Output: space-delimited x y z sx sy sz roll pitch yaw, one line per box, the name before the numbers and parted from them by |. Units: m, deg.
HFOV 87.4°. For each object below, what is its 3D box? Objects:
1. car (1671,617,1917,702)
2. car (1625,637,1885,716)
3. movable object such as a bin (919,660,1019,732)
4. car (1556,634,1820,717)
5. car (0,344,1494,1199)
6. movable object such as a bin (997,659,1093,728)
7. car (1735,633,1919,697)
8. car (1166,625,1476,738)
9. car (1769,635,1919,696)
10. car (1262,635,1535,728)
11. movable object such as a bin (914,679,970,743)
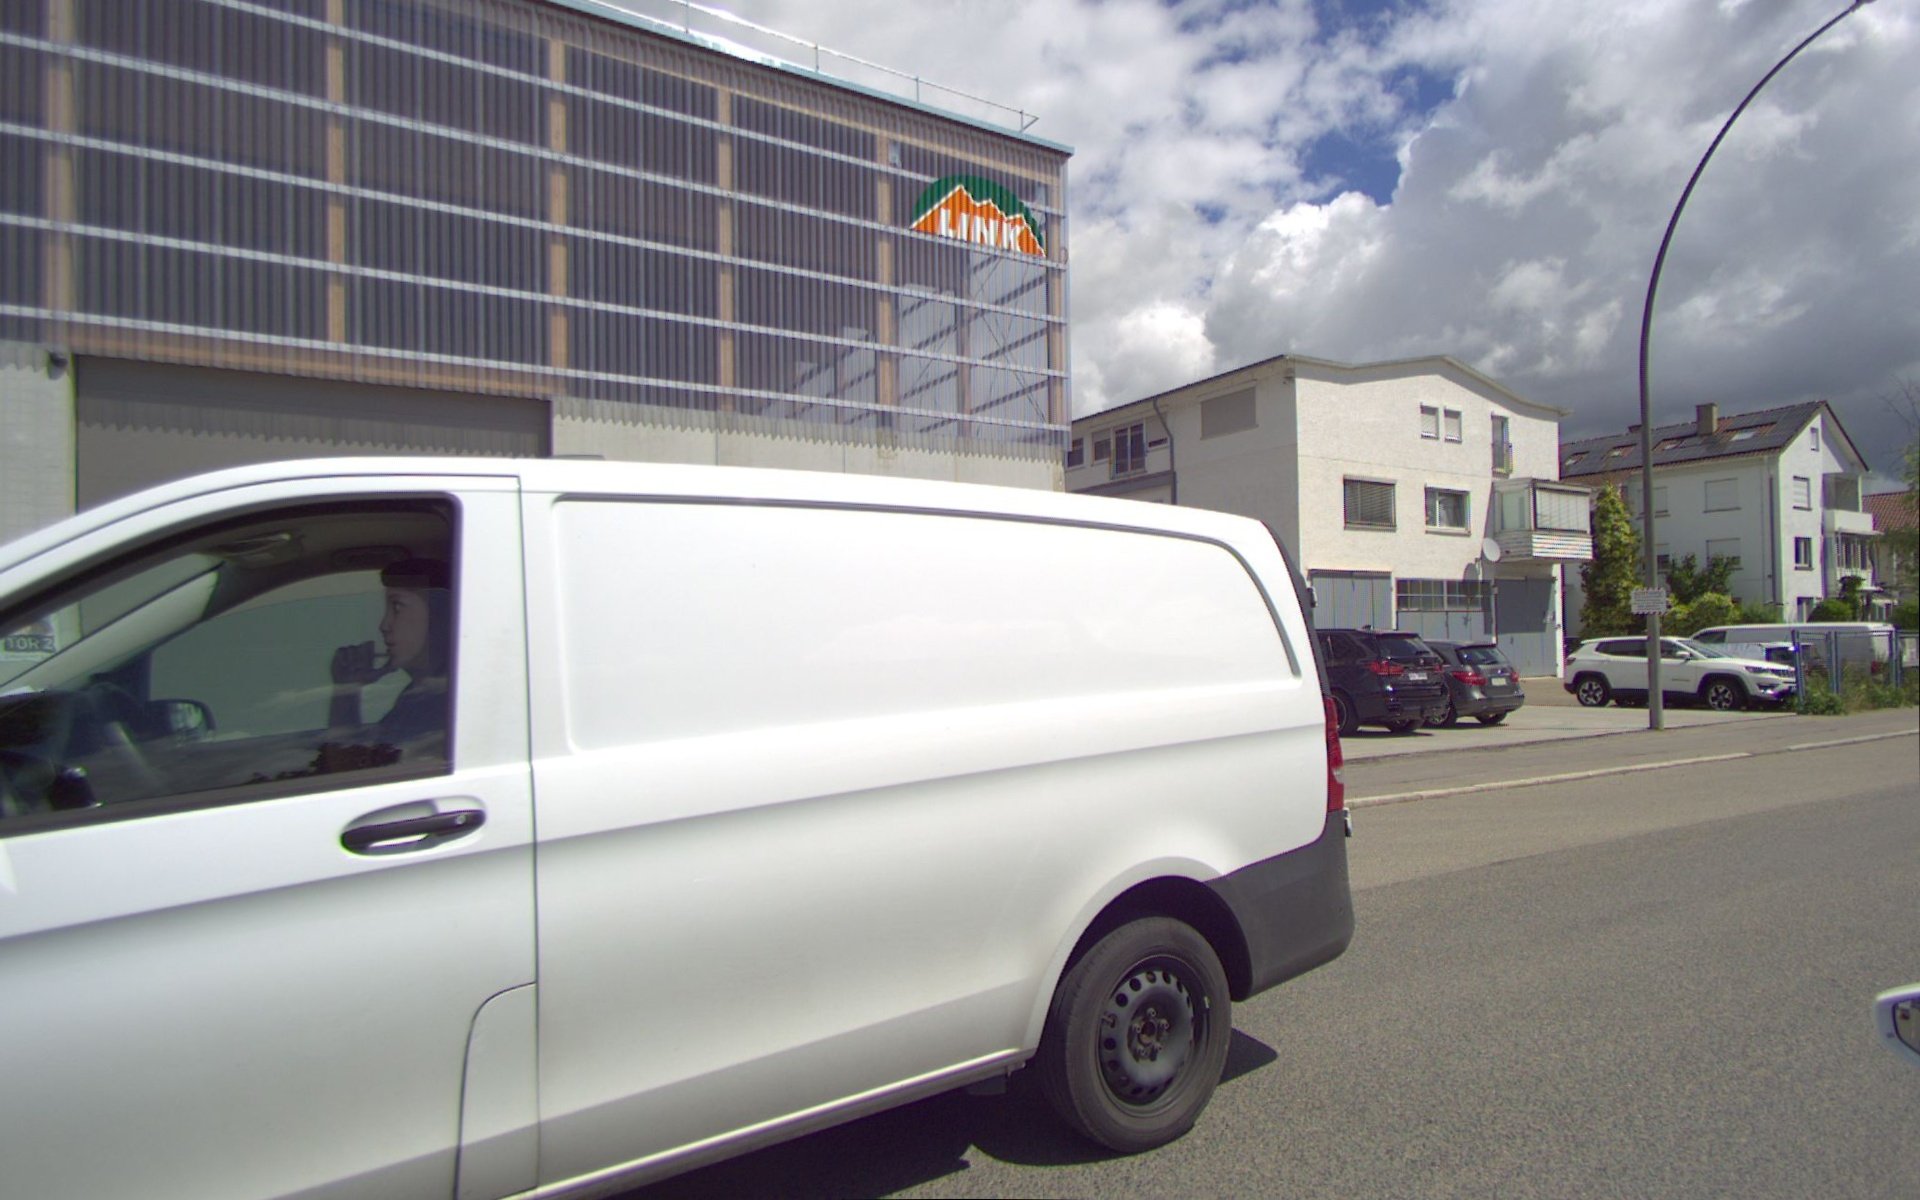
car | 20.274 1.453 24.626 1.969 1.859 4.259 5 -4 -30
car | 17.931 1.707 22.875 1.969 1.586 4.259 5 -4 -30
movable object such as a bin | 0.183 1.921 20.404 1.796 1.374 0.953 1 -3 -29
car | 15.731 1.607 21.950 1.968 1.586 4.261 4 -4 -29
car | -0.823 0.621 3.039 5.058 1.913 1.984 1 -2 -31
movable object such as a bin | 1.812 1.958 21.315 1.796 1.374 0.953 1 -3 -29
car | 22.694 1.652 25.614 1.969 1.504 4.259 5 -4 -30
car | 6.017 1.405 17.325 2.174 1.653 4.602 1 -5 -33
car | 24.612 1.757 26.865 1.969 1.504 4.259 5 -4 -30
car | 8.109 1.557 19.008 1.806 1.524 4.438 0 -5 -33
movable object such as a bin | -0.315 1.913 17.448 0.703 1.044 0.740 1 -3 -28
